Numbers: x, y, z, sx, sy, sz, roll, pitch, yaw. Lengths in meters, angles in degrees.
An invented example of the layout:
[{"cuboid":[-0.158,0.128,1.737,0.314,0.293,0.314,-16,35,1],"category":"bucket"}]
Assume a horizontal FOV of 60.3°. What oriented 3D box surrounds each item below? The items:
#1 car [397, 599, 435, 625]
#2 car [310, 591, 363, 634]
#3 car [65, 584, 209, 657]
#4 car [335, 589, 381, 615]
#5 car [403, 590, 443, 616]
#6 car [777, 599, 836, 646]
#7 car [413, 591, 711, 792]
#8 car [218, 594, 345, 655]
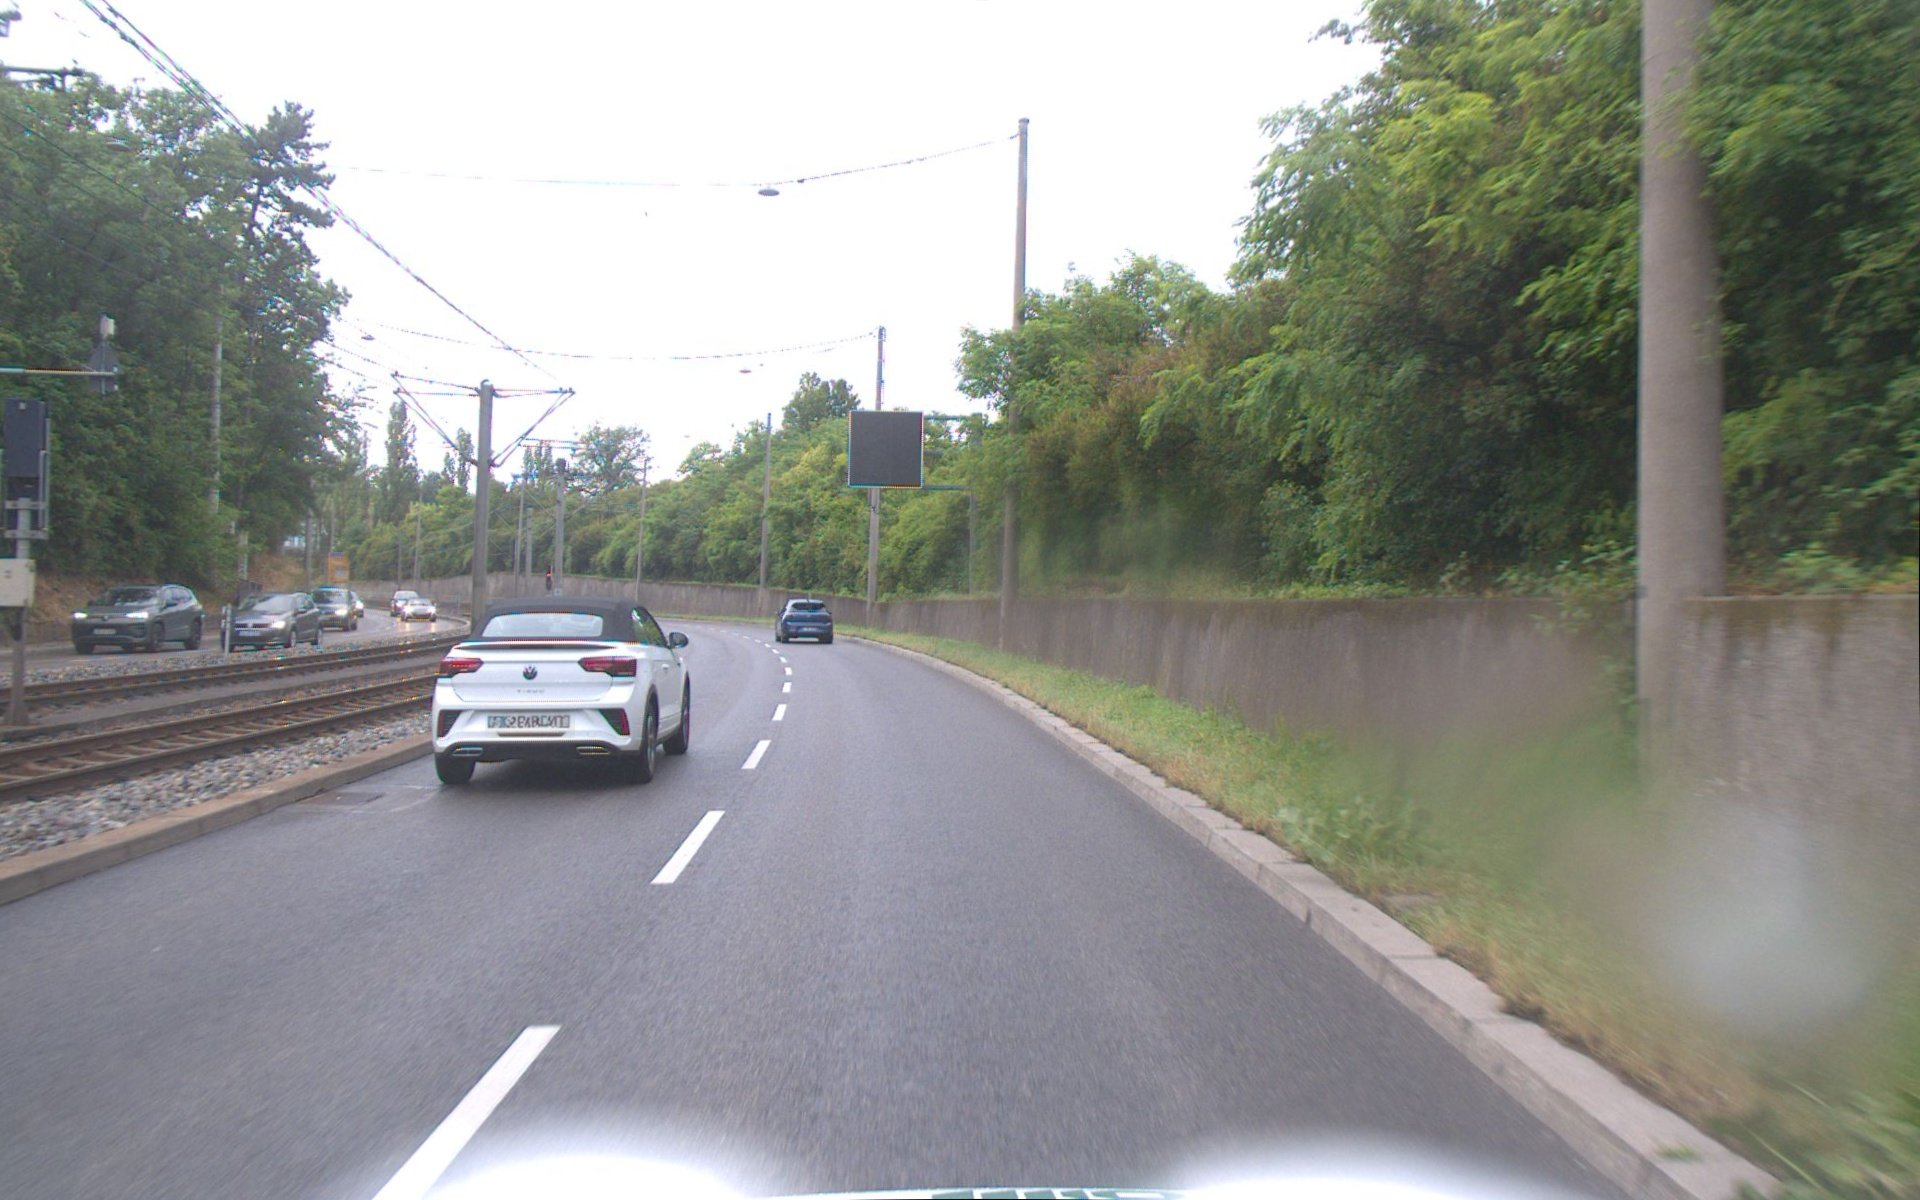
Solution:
[{"cuboid":[-28.488,0.625,86.572,1.523,1.280,3.930,-1,0,-24],"category":"car"},{"cuboid":[-24.548,0.482,65.249,1.680,1.636,4.389,-1,0,-18],"category":"car"},{"cuboid":[-20.196,0.478,40.797,1.751,1.699,4.731,0,0,-8],"category":"car"},{"cuboid":[-35.016,0.126,96.127,1.797,1.487,4.613,-1,0,-30],"category":"car"},{"cuboid":[-33.264,0.195,102.366,1.523,1.517,3.581,-2,0,-32],"category":"car"},{"cuboid":[-5.284,0.750,56.594,1.731,1.527,3.992,1,0,-9],"category":"car"},{"cuboid":[-3.431,0.705,15.114,1.834,1.551,4.537,0,0,-3],"category":"car"},{"cuboid":[-17.034,0.601,41.713,1.672,1.439,4.029,1,-1,-3],"category":"car"}]
